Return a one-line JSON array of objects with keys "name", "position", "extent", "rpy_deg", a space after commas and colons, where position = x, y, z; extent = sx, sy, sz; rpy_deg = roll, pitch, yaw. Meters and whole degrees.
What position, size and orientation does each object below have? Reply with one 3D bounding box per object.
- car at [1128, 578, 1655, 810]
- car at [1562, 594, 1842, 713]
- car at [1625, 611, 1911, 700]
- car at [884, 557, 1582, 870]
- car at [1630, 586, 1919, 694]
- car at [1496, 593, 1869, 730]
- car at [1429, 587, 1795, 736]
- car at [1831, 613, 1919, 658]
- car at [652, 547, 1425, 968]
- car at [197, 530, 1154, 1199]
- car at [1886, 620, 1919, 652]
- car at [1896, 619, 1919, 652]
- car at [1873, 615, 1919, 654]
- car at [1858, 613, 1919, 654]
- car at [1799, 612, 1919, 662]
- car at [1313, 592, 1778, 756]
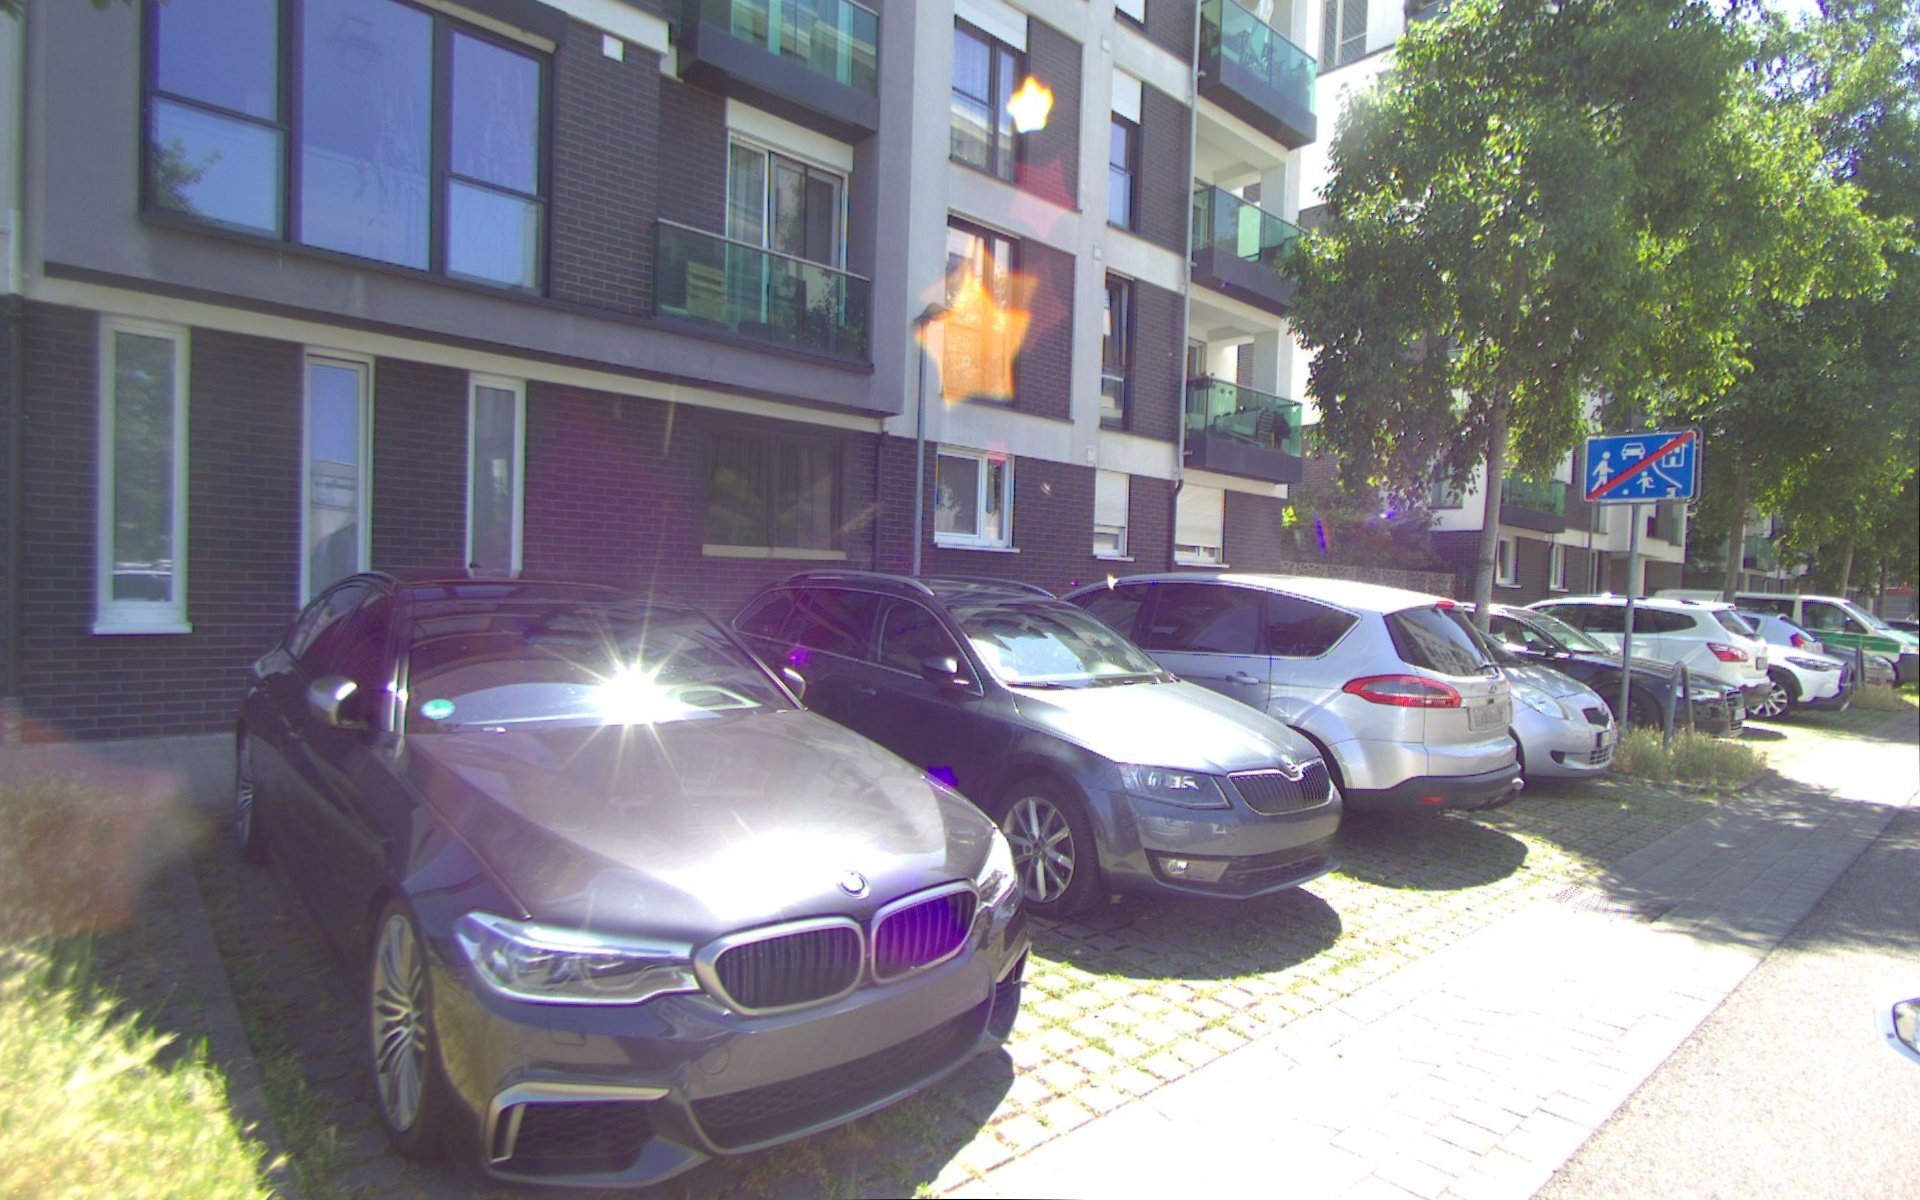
[{"name": "car", "position": [3.885, 0.675, 9.607], "extent": [1.810, 1.551, 4.209], "rpy_deg": [1, 3, -44]}, {"name": "car", "position": [13.109, 0.856, 17.895], "extent": [1.838, 1.698, 3.646], "rpy_deg": [1, 2, -41]}, {"name": "car", "position": [16.676, 1.068, 20.890], "extent": [1.986, 1.509, 4.379], "rpy_deg": [1, 1, -43]}, {"name": "car", "position": [1.763, 0.549, 7.938], "extent": [2.028, 1.654, 4.980], "rpy_deg": [1, 2, -43]}, {"name": "car", "position": [18.693, 0.801, 22.875], "extent": [2.169, 2.139, 5.299], "rpy_deg": [1, 1, -39]}, {"name": "car", "position": [11.318, 0.851, 15.960], "extent": [4.510, 1.615, 1.955], "rpy_deg": [5, 3, 44]}, {"name": "car", "position": [9.196, 0.755, 14.426], "extent": [1.933, 1.651, 3.948], "rpy_deg": [1, 2, -39]}, {"name": "car", "position": [38.342, 1.468, 40.968], "extent": [1.868, 1.613, 3.953], "rpy_deg": [1, 2, -40]}, {"name": "car", "position": [0.050, 0.547, 6.254], "extent": [1.815, 1.468, 4.771], "rpy_deg": [2, 3, -43]}, {"name": "car", "position": [-1.815, 0.550, 4.401], "extent": [1.914, 1.504, 5.049], "rpy_deg": [2, 1, -43]}, {"name": "car", "position": [46.209, 1.788, 47.148], "extent": [1.764, 1.465, 3.934], "rpy_deg": [1, 2, -44]}, {"name": "car", "position": [51.331, 1.855, 51.869], "extent": [1.986, 1.733, 4.319], "rpy_deg": [1, -1, -43]}, {"name": "car", "position": [44.187, 1.632, 45.479], "extent": [1.902, 1.673, 3.954], "rpy_deg": [1, 2, -39]}, {"name": "car", "position": [42.163, 1.515, 43.994], "extent": [1.918, 1.651, 3.952], "rpy_deg": [1, 2, -41]}, {"name": "car", "position": [34.525, 1.387, 37.790], "extent": [1.910, 1.538, 4.214], "rpy_deg": [1, 3, -41]}, {"name": "car", "position": [7.261, 0.780, 12.955], "extent": [1.815, 1.476, 4.808], "rpy_deg": [1, 2, -40]}]
